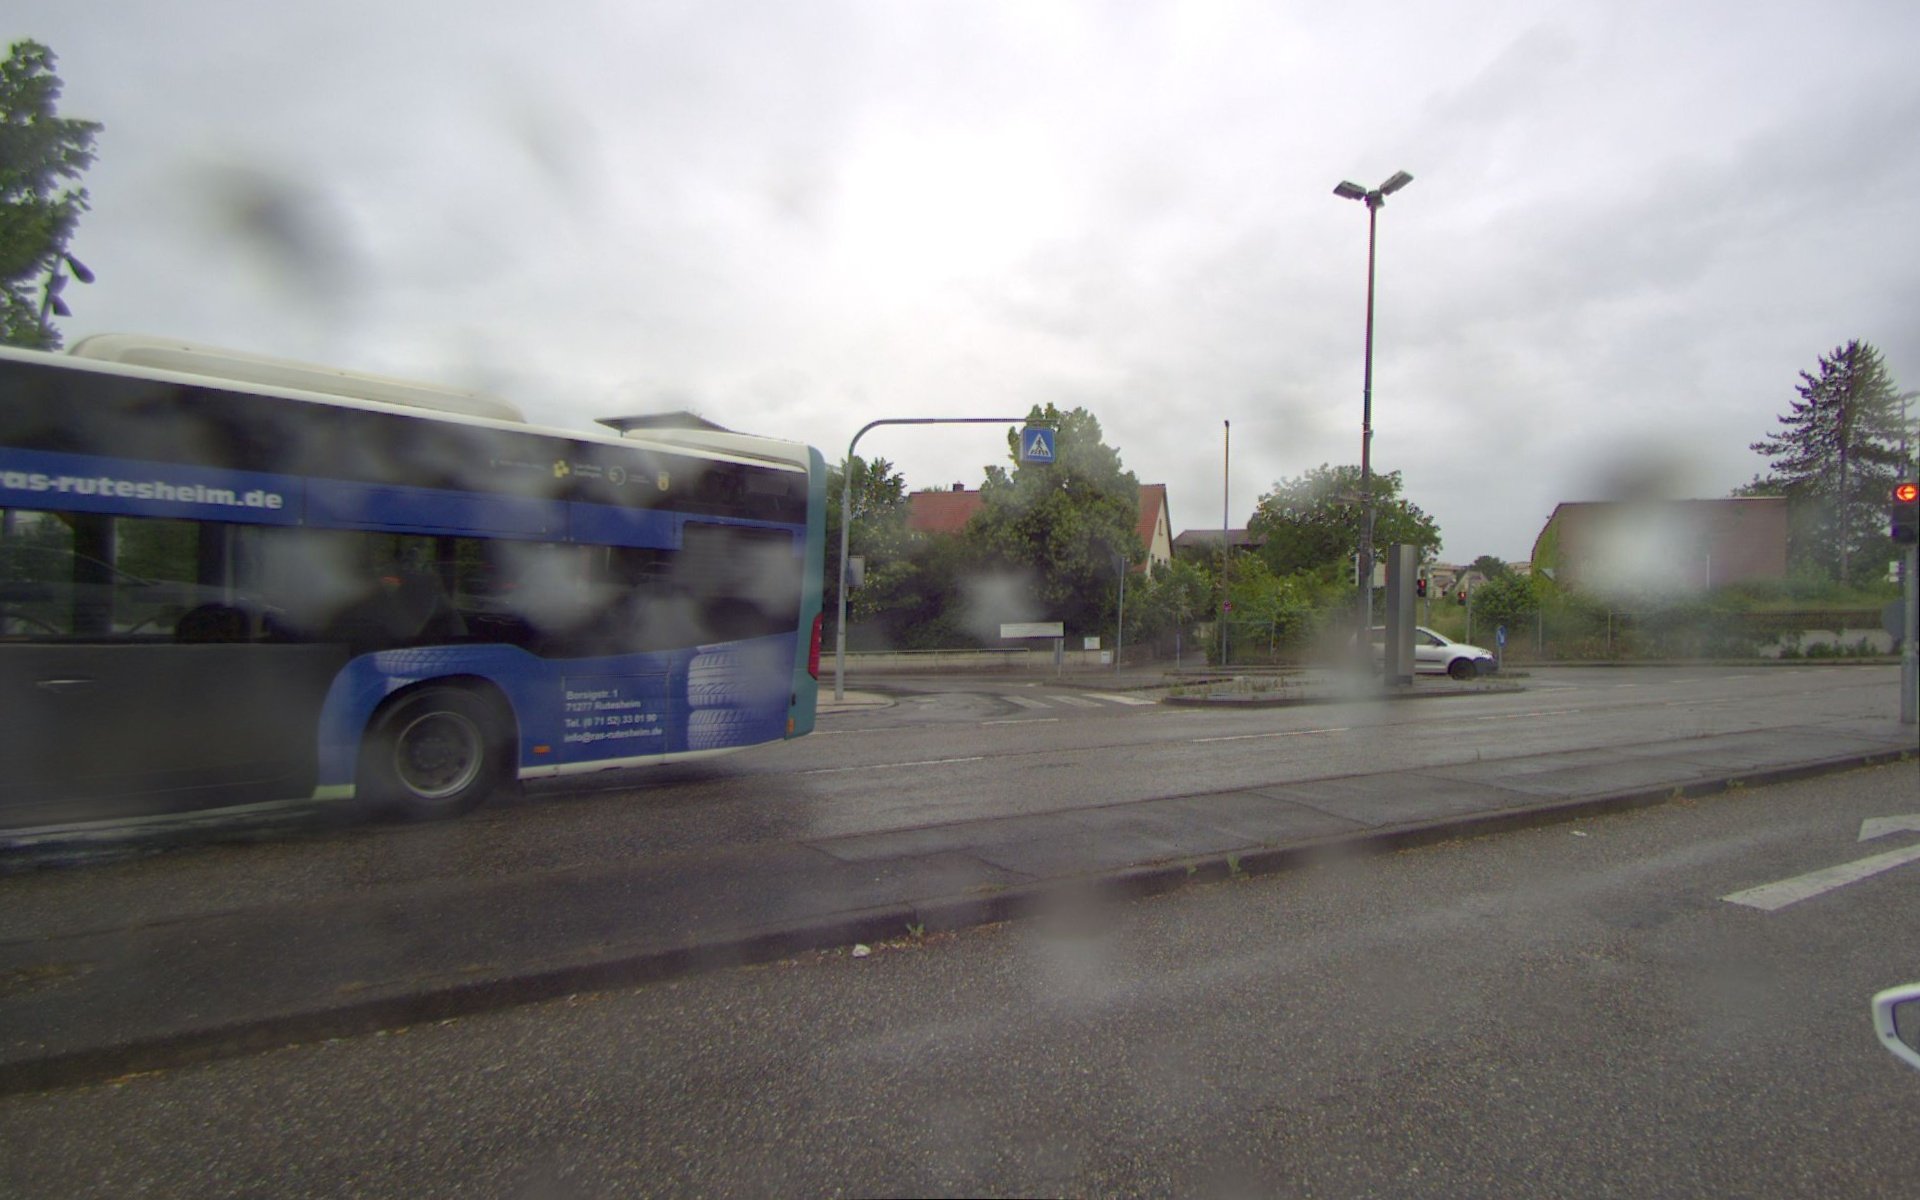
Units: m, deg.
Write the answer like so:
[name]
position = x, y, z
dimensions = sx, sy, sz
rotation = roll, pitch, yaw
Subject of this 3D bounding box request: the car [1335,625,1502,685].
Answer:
[car]
position = 12.241, 1.431, 26.863
dimensions = 3.929, 1.486, 1.583
rotation = -1, -2, 30

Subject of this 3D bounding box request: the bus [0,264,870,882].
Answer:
[bus]
position = -4.997, -0.079, 7.089
dimensions = 2.746, 3.155, 9.318
rotation = -1, -2, 42
